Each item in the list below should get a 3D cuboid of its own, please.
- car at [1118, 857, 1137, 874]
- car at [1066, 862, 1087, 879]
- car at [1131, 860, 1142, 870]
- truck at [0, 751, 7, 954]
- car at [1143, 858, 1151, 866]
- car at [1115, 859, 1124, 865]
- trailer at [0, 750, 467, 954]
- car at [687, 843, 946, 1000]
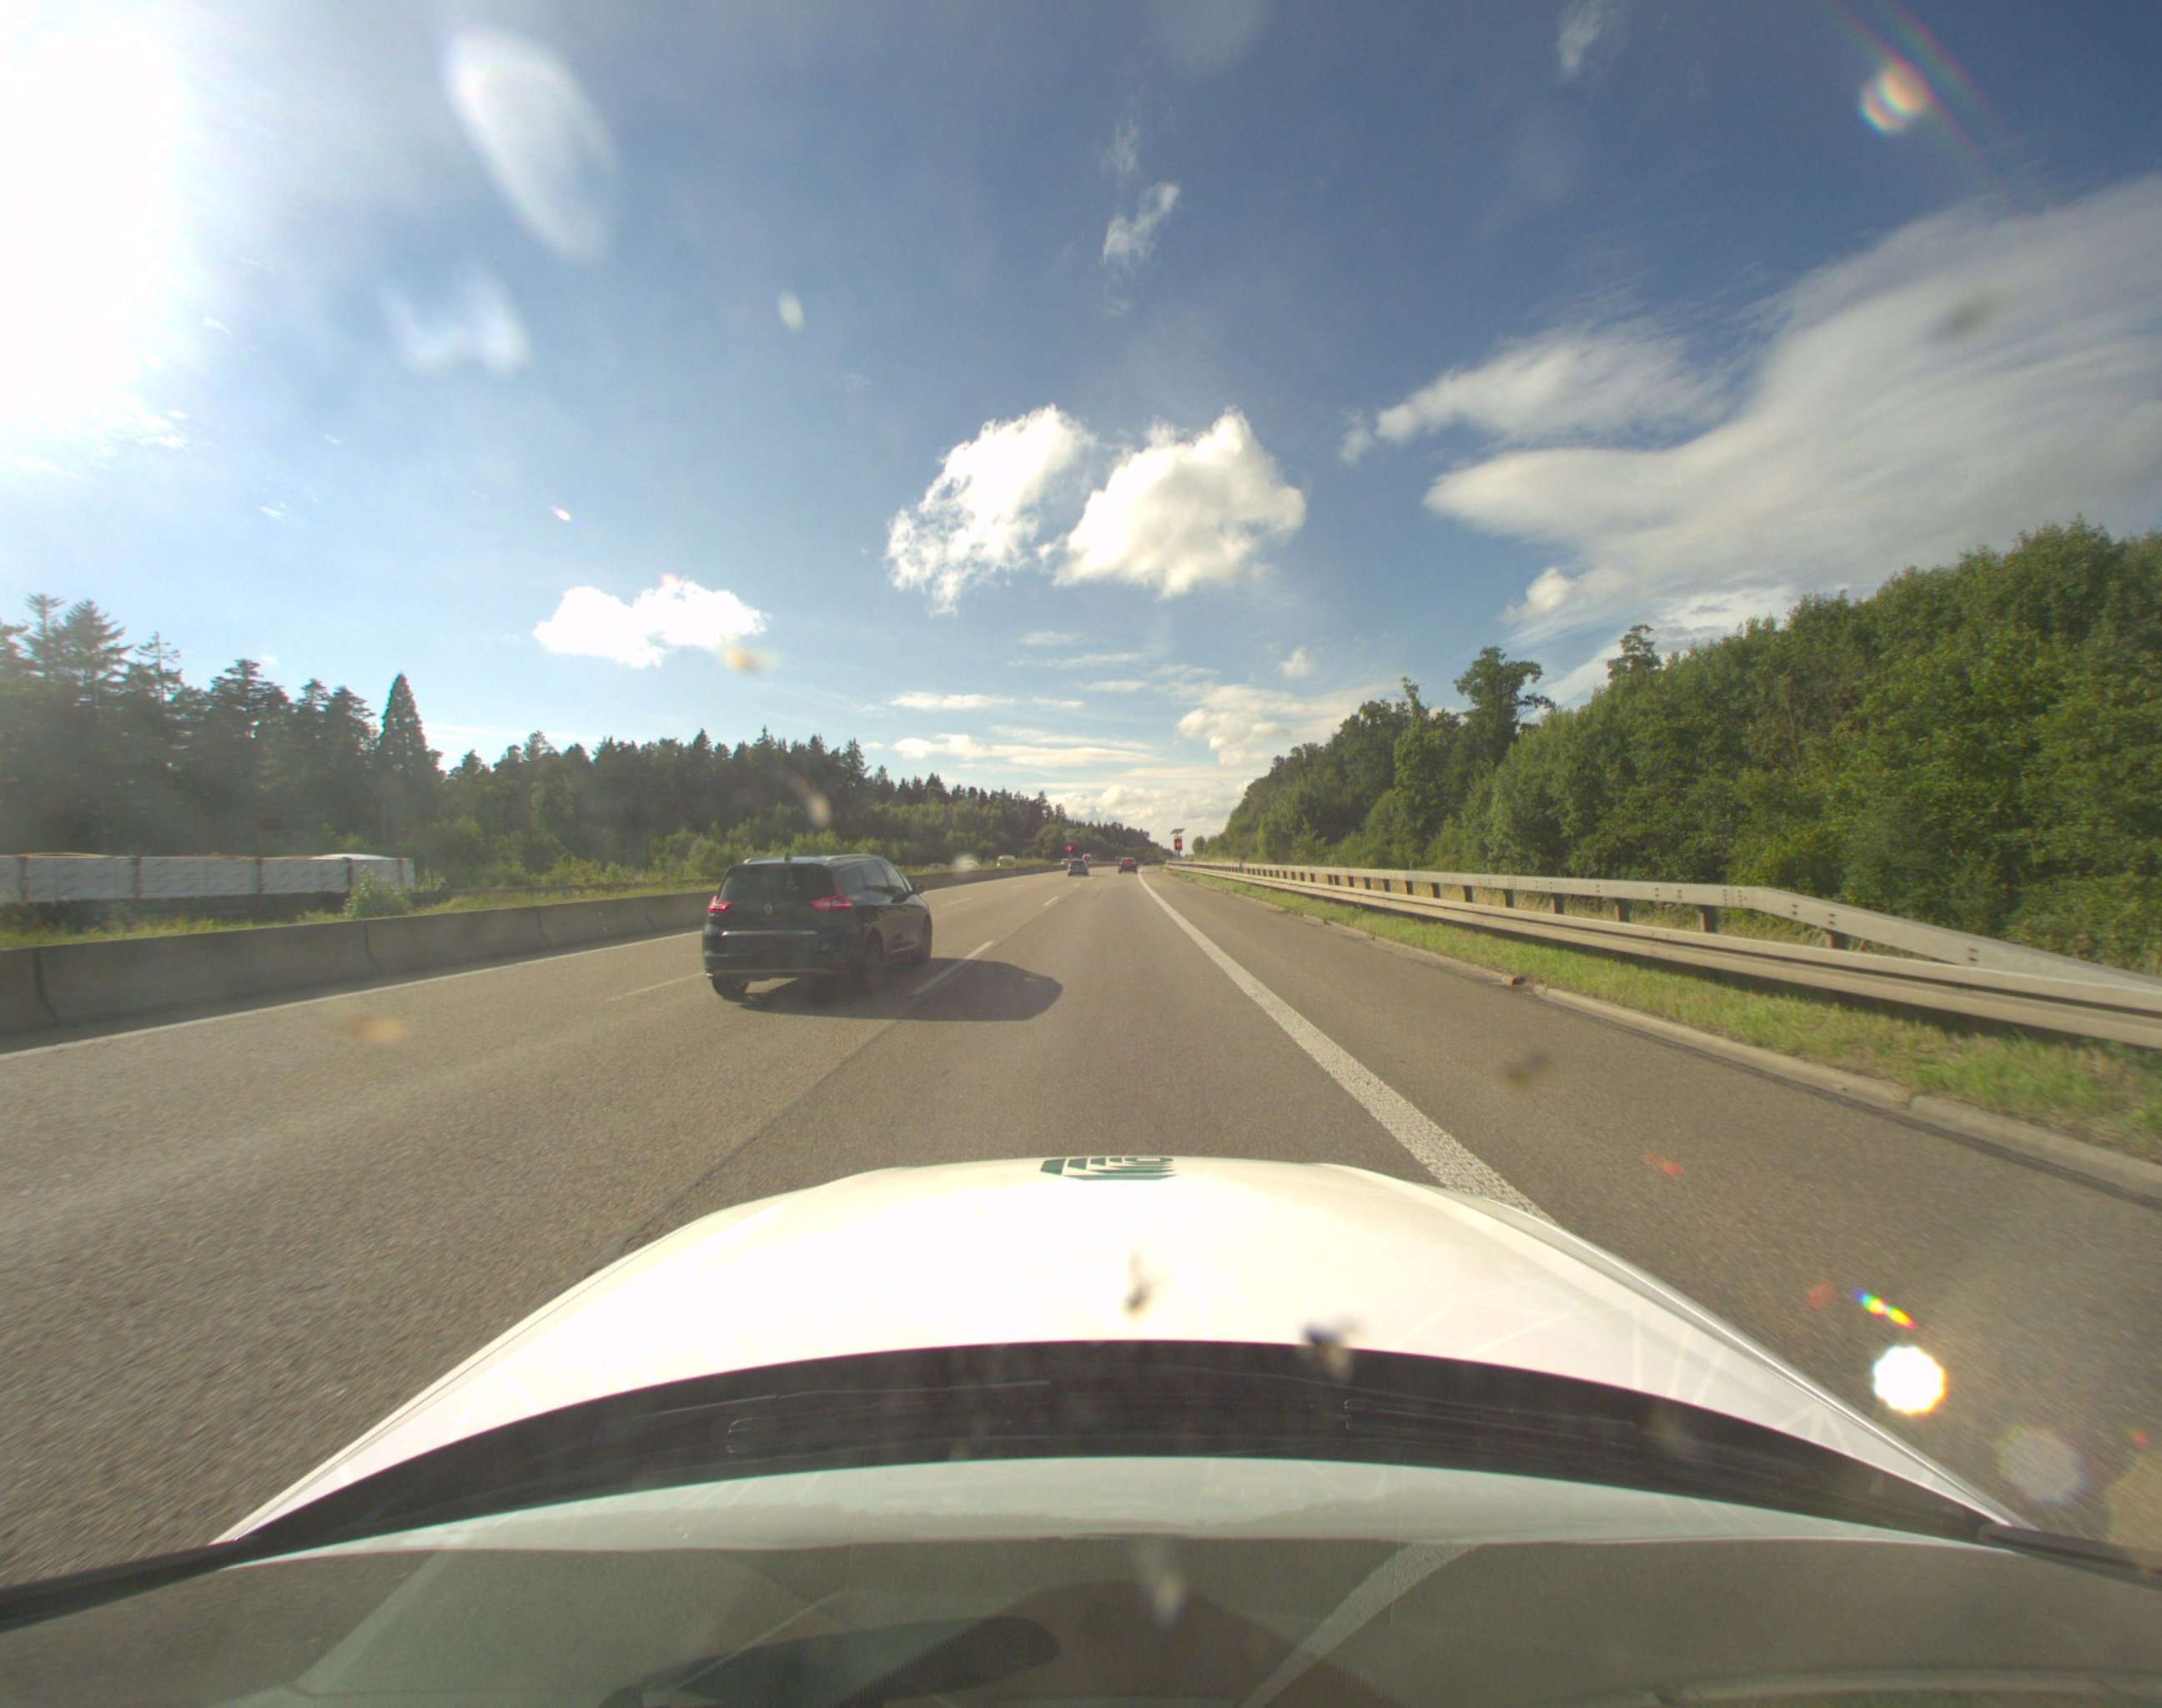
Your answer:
[{"bbox_3d":[4.890,1.195,85.361,1.867,1.675,3.891,-1,0,2],"label":"car"},{"bbox_3d":[-0.350,1.492,75.495,1.867,1.497,3.880,-1,0,0],"label":"car"},{"bbox_3d":[11.648,2.301,171.581,1.987,2.014,3.999,0,0,0],"label":"car"},{"bbox_3d":[-23.107,-0.017,13.264,3.362,4.009,5.866,-1,0,2],"label":"truck"},{"bbox_3d":[16.474,1.973,203.231,1.803,1.706,4.006,-1,0,5],"label":"car"},{"bbox_3d":[9.323,1.967,197.920,1.864,1.497,3.886,-1,0,6],"label":"car"},{"bbox_3d":[-22.816,0.009,20.893,3.362,4.009,13.646,-1,0,2],"label":"trailer"},{"bbox_3d":[-3.316,0.757,11.307,1.986,1.707,4.530,-1,0,1],"label":"car"}]
